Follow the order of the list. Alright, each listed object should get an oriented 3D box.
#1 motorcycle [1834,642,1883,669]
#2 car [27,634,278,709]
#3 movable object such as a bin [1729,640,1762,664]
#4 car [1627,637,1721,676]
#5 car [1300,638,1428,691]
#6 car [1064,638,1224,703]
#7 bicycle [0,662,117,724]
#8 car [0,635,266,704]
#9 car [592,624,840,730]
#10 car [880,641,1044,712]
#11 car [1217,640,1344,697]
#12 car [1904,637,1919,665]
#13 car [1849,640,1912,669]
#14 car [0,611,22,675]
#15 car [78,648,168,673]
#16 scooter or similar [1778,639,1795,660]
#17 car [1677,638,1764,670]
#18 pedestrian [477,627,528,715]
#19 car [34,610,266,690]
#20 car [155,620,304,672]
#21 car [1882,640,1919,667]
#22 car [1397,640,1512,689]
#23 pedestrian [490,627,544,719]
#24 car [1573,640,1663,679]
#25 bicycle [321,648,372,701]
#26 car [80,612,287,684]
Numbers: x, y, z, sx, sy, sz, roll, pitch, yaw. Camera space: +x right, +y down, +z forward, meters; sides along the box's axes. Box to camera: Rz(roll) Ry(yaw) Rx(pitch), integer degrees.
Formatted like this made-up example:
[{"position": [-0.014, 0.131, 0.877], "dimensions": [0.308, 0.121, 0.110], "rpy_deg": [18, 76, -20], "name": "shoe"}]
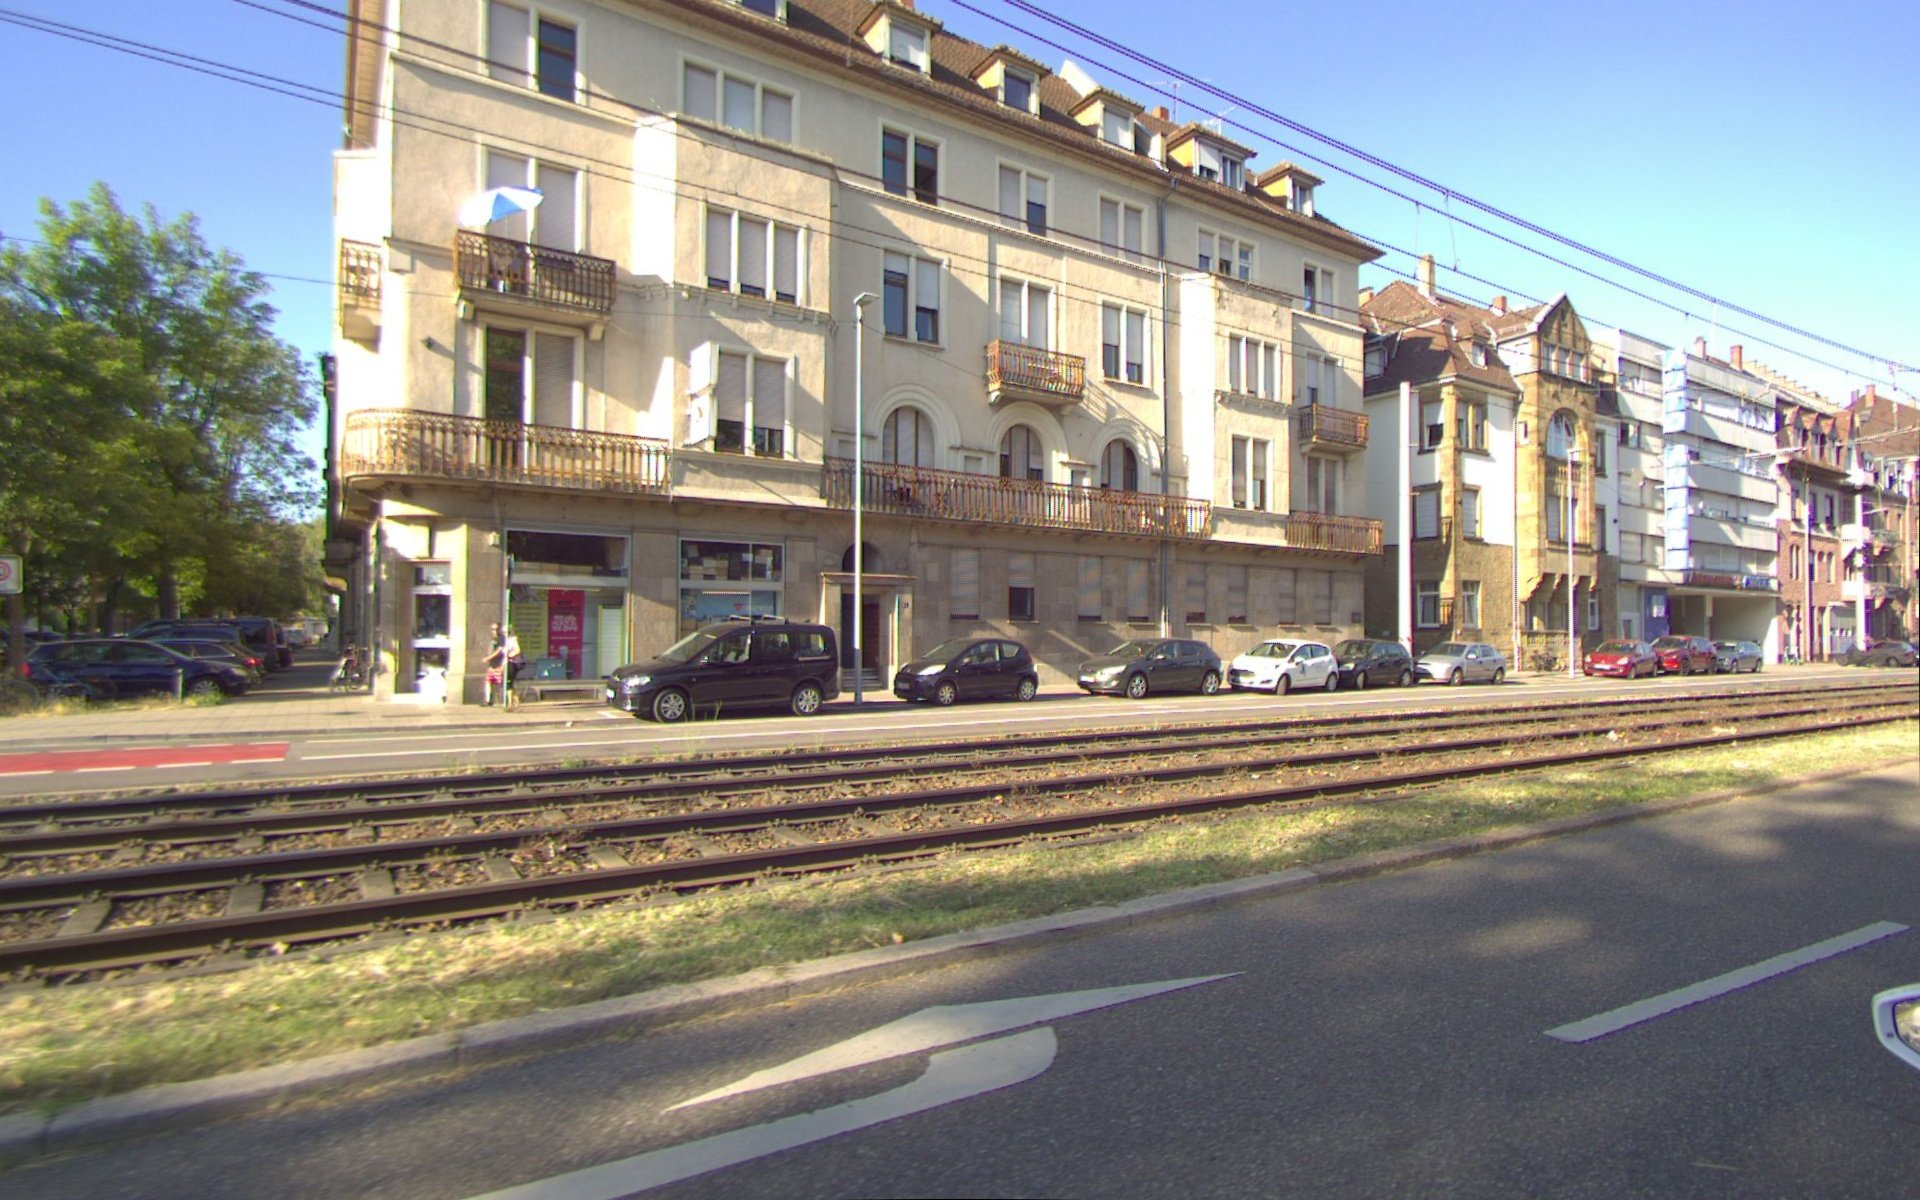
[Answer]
[{"position": [50.962, 3.139, 56.987], "dimensions": [2.044, 1.345, 0.836], "rpy_deg": [2, 1, 42], "name": "motorcycle"}, {"position": [-17.930, 1.545, 22.496], "dimensions": [4.211, 1.483, 1.758], "rpy_deg": [2, -1, -40], "name": "car"}, {"position": [46.555, 3.069, 59.533], "dimensions": [0.630, 1.389, 1.400], "rpy_deg": [1, -2, -39], "name": "movable object such as a bin"}, {"position": [30.821, 2.411, 43.318], "dimensions": [4.305, 1.579, 1.823], "rpy_deg": [2, -1, -32], "name": "car"}, {"position": [12.580, 1.983, 31.207], "dimensions": [4.115, 1.488, 1.626], "rpy_deg": [1, -3, -34], "name": "car"}, {"position": [4.835, 1.769, 26.167], "dimensions": [4.115, 1.488, 1.625], "rpy_deg": [1, 1, -34], "name": "car"}, {"position": [-17.048, 1.696, 18.376], "dimensions": [2.385, 1.029, 0.680], "rpy_deg": [1, 0, -31], "name": "bicycle"}, {"position": [-19.873, 1.676, 24.403], "dimensions": [4.845, 1.530, 2.046], "rpy_deg": [3, -4, -34], "name": "car"}, {"position": [-4.700, 1.402, 19.603], "dimensions": [4.356, 1.810, 1.851], "rpy_deg": [1, 0, -34], "name": "car"}, {"position": [0.074, 1.701, 23.222], "dimensions": [3.473, 1.410, 1.617], "rpy_deg": [1, 1, -34], "name": "car"}, {"position": [9.114, 1.892, 28.436], "dimensions": [3.951, 1.488, 1.621], "rpy_deg": [2, -3, -40], "name": "car"}, {"position": [62.684, 3.283, 64.537], "dimensions": [4.403, 1.777, 1.785], "rpy_deg": [1, 1, -30], "name": "car"}, {"position": [53.722, 3.150, 58.610], "dimensions": [4.222, 1.479, 1.783], "rpy_deg": [1, 1, -34], "name": "car"}, {"position": [-43.097, 1.760, 41.803], "dimensions": [5.546, 2.719, 2.256], "rpy_deg": [3, -4, -36], "name": "car"}, {"position": [-52.615, 3.804, 63.217], "dimensions": [3.928, 1.530, 1.798], "rpy_deg": [1, -3, -10], "name": "car"}, {"position": [48.673, 2.910, 59.162], "dimensions": [1.187, 1.221, 0.389], "rpy_deg": [1, 0, -32], "name": "scooter or similar"}, {"position": [35.128, 2.443, 46.375], "dimensions": [4.633, 1.409, 1.822], "rpy_deg": [1, -2, -34], "name": "car"}, {"position": [-9.178, 1.405, 20.153], "dimensions": [0.848, 1.719, 0.586], "rpy_deg": [2, -1, -31], "name": "pedestrian"}, {"position": [-22.570, 1.440, 28.317], "dimensions": [4.848, 2.067, 2.045], "rpy_deg": [3, -4, -35], "name": "car"}, {"position": [-30.217, 1.957, 41.759], "dimensions": [4.848, 2.067, 2.045], "rpy_deg": [3, -4, -35], "name": "car"}, {"position": [58.147, 3.238, 61.339], "dimensions": [3.957, 1.530, 1.783], "rpy_deg": [1, 1, -33], "name": "car"}, {"position": [16.762, 2.144, 34.006], "dimensions": [4.114, 1.488, 1.626], "rpy_deg": [1, -1, -33], "name": "car"}, {"position": [-8.623, 1.406, 19.546], "dimensions": [0.848, 1.719, 0.586], "rpy_deg": [2, -1, -31], "name": "pedestrian"}, {"position": [26.508, 2.360, 40.446], "dimensions": [3.999, 1.410, 1.819], "rpy_deg": [2, 0, -38], "name": "car"}, {"position": [-14.735, 1.755, 24.194], "dimensions": [0.742, 1.176, 2.873], "rpy_deg": [1, -3, -25], "name": "bicycle"}, {"position": [-23.765, 1.528, 31.029], "dimensions": [4.848, 2.067, 2.045], "rpy_deg": [3, -4, -35], "name": "car"}]
